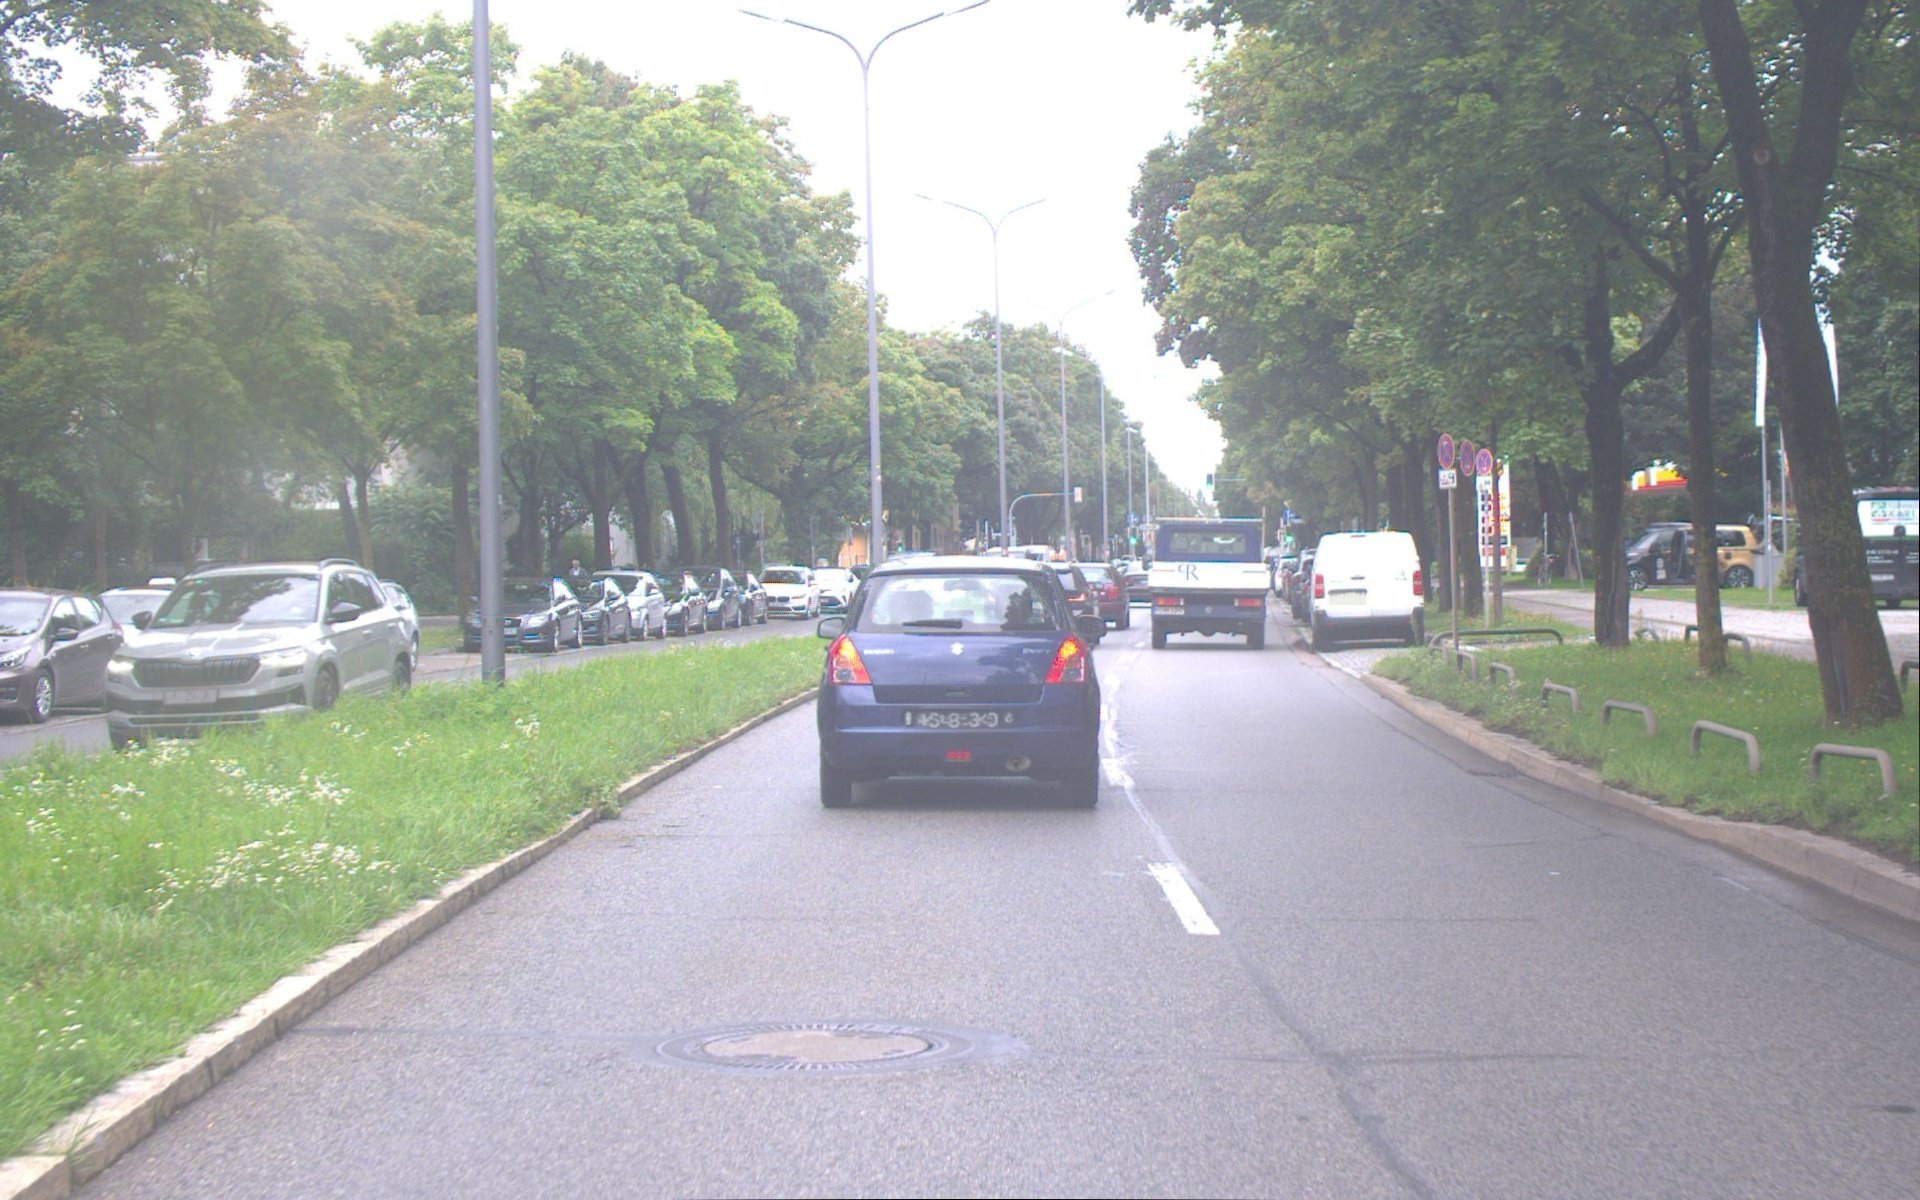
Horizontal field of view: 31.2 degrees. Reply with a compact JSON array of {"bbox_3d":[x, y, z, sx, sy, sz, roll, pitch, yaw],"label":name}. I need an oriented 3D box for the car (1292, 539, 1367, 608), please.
[{"bbox_3d":[9.498,-0.691,88.179,1.813,1.670,4.798,-2,1,7],"label":"car"}]

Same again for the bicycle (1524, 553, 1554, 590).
[{"bbox_3d":[18.873,-0.922,112.128,0.748,1.179,2.246,-1,1,5],"label":"bicycle"}]

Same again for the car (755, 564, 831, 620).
[{"bbox_3d":[-5.020,-0.262,103.767,1.757,1.589,4.489,1,1,4],"label":"car"}]

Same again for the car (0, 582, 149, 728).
[{"bbox_3d":[-10.673,0.568,38.632,1.739,1.478,4.333,1,1,5],"label":"car"}]

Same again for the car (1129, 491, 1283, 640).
[{"bbox_3d":[4.251,-0.598,58.599,2.419,2.436,5.085,0,1,6],"label":"car"}]

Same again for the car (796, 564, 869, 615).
[{"bbox_3d":[-4.208,-0.363,113.893,1.832,1.604,4.490,1,1,5],"label":"car"}]

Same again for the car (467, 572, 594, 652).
[{"bbox_3d":[-8.241,0.209,66.250,1.580,1.418,4.362,2,1,4],"label":"car"}]

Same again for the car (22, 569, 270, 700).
[{"bbox_3d":[-10.219,0.389,43.485,1.739,1.524,4.475,1,1,5],"label":"car"}]

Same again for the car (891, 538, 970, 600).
[{"bbox_3d":[-0.802,-0.881,97.130,1.834,1.637,4.350,-2,1,4],"label":"car"}]

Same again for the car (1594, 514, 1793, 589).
[{"bbox_3d":[21.651,-1.421,101.644,5.470,2.076,2.147,-1,1,4],"label":"car"}]

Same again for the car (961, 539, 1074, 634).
[{"bbox_3d":[0.976,-0.252,57.540,1.799,1.494,3.660,-1,1,1],"label":"car"}]

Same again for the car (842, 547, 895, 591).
[{"bbox_3d":[-3.360,-1.141,126.884,1.691,1.560,3.079,-1,1,3],"label":"car"}]

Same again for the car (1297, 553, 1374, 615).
[{"bbox_3d":[9.089,-0.405,83.006,1.702,1.403,4.511,-2,1,7],"label":"car"}]

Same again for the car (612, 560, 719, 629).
[{"bbox_3d":[-6.964,-0.163,81.771,1.716,1.519,5.034,2,1,4],"label":"car"}]

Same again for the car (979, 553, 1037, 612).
[{"bbox_3d":[1.755,-0.644,124.283,1.781,2.022,4.818,-2,1,4],"label":"car"}]

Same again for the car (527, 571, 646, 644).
[{"bbox_3d":[-7.801,0.133,72.125,1.626,1.418,4.191,2,1,6],"label":"car"}]

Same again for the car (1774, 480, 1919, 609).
[{"bbox_3d":[17.327,-1.060,65.707,2.265,2.299,6.268,-2,1,3],"label":"car"}]

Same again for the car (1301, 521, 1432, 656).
[{"bbox_3d":[6.921,-0.221,58.944,1.987,2.150,5.554,-2,1,5],"label":"car"}]

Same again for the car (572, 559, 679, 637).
[{"bbox_3d":[-7.427,-0.067,76.581,1.626,1.642,3.867,2,1,5],"label":"car"}]

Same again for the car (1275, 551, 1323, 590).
[{"bbox_3d":[13.451,-1.176,136.523,1.761,1.449,4.632,-3,0,5],"label":"car"}]

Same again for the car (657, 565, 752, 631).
[{"bbox_3d":[-6.465,-0.068,87.341,1.686,1.591,4.209,1,1,5],"label":"car"}]

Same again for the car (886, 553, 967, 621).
[{"bbox_3d":[-1.113,-0.470,117.597,2.209,2.186,5.798,-3,1,4],"label":"car"}]

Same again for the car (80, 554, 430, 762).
[{"bbox_3d":[-6.017,0.441,29.864,1.766,1.619,4.376,-2,1,5],"label":"car"}]

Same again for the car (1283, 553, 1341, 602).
[{"bbox_3d":[11.647,-0.759,113.570,1.780,1.506,4.284,-3,0,7],"label":"car"}]

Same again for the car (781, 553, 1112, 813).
[{"bbox_3d":[-0.025,0.455,21.615,1.896,1.494,3.660,0,1,2],"label":"car"}]
